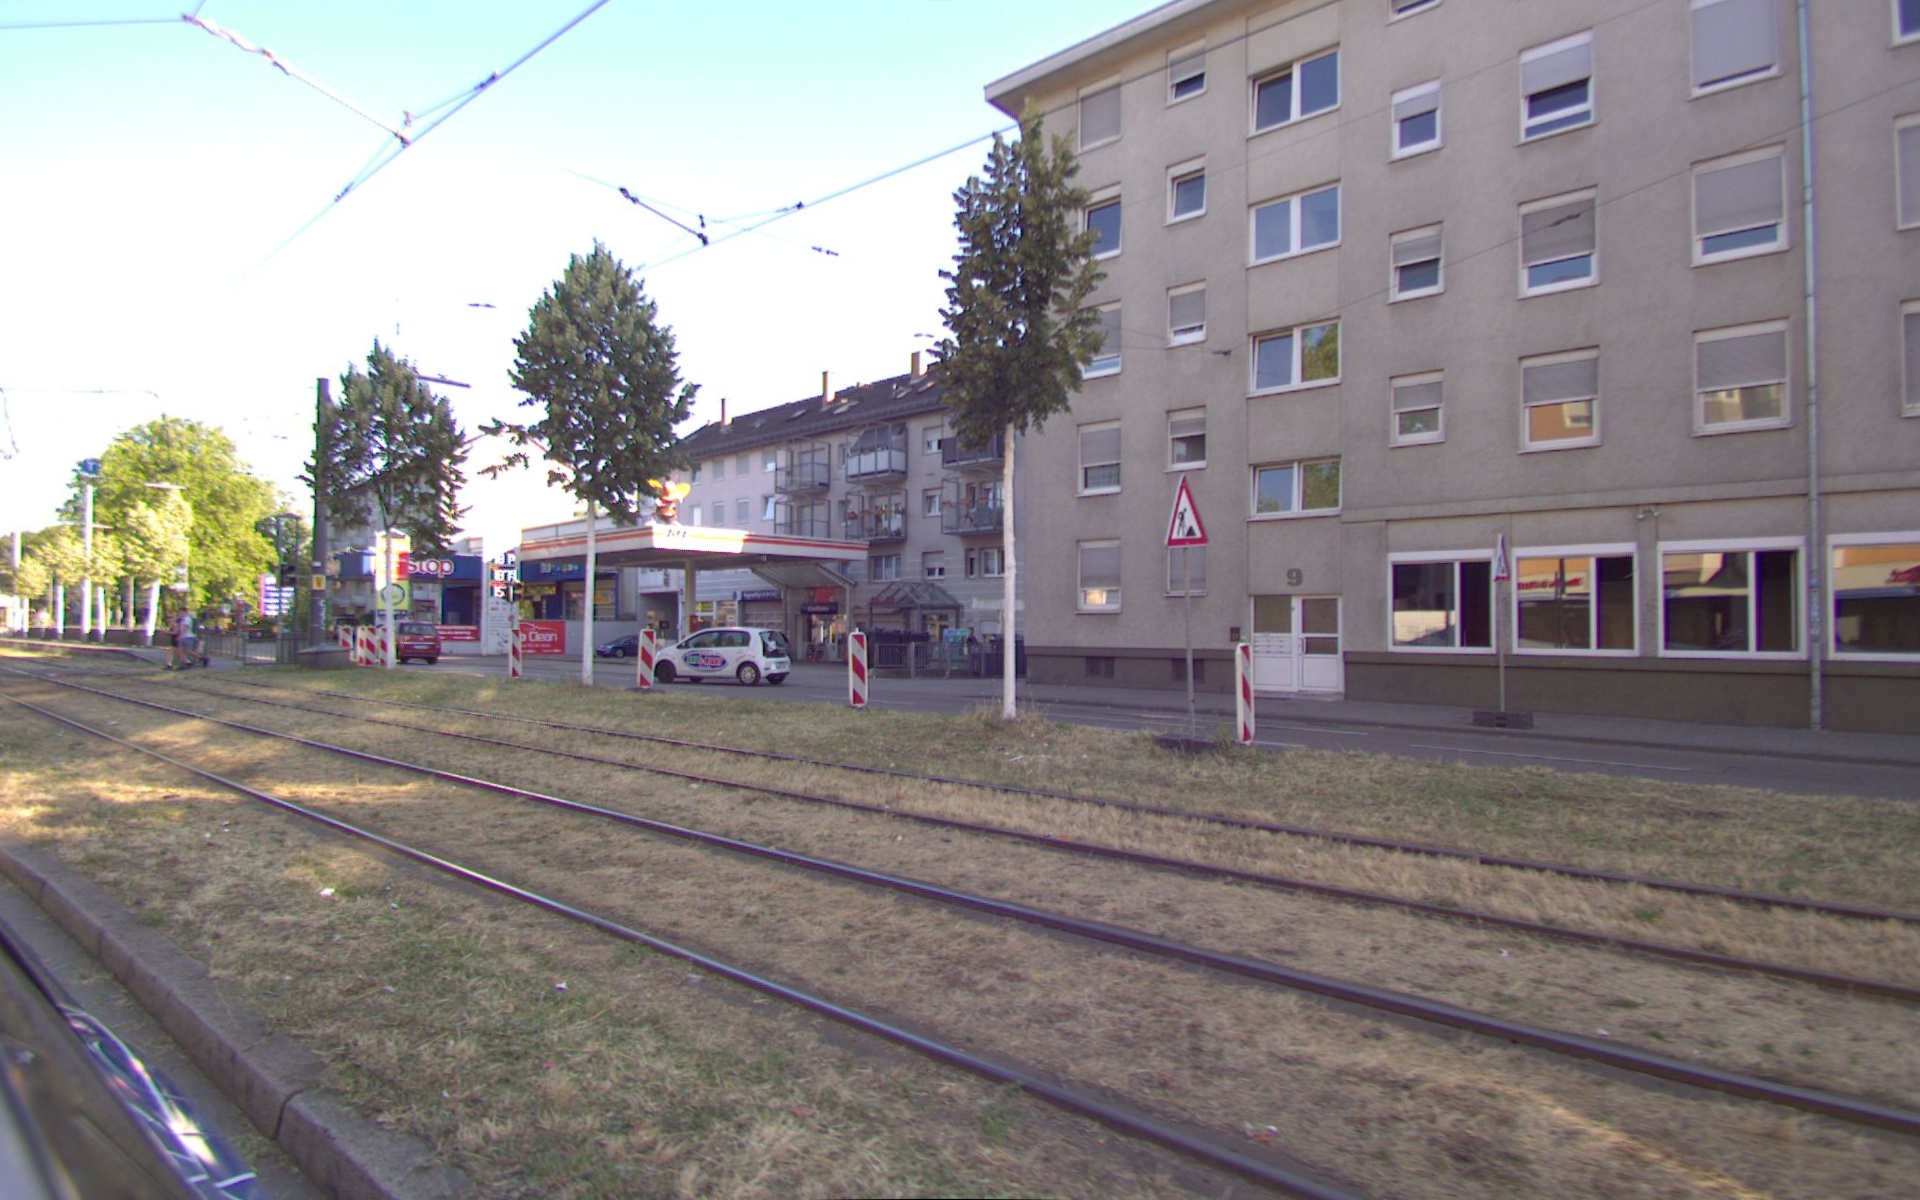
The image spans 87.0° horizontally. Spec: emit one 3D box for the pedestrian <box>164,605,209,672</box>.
[{"bbox_3d":[-22.877,1.139,29.926,0.754,1.947,0.849,-1,-3,38],"label":"pedestrian"}]

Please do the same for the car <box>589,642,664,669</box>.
[{"bbox_3d":[-19.320,3.198,58.697,1.818,1.535,3.752,-2,-3,43],"label":"car"}]

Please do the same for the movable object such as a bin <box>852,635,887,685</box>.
[{"bbox_3d":[-2.597,1.699,28.969,0.748,1.411,0.656,-1,-3,39],"label":"movable object such as a bin"}]

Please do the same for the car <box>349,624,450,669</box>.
[{"bbox_3d":[-21.419,1.738,38.587,4.933,1.572,1.793,-1,-3,42],"label":"car"}]

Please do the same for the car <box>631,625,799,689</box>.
[{"bbox_3d":[-6.281,1.446,26.099,3.794,1.523,1.809,0,-3,15],"label":"car"}]

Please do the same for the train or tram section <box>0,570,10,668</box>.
[{"bbox_3d":[-39.445,0.660,38.827,10.088,3.544,3.005,-1,-3,40],"label":"train or tram section"}]

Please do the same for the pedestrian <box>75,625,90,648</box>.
[{"bbox_3d":[-74.150,3.078,85.495,0.999,1.896,0.745,-1,0,40],"label":"pedestrian"}]

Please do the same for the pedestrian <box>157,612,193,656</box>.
[{"bbox_3d":[-30.487,1.309,39.323,0.925,1.666,0.925,-2,0,41],"label":"pedestrian"}]

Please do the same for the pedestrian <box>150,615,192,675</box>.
[{"bbox_3d":[-23.658,1.335,30.351,0.859,1.760,0.746,-1,-3,38],"label":"pedestrian"}]
